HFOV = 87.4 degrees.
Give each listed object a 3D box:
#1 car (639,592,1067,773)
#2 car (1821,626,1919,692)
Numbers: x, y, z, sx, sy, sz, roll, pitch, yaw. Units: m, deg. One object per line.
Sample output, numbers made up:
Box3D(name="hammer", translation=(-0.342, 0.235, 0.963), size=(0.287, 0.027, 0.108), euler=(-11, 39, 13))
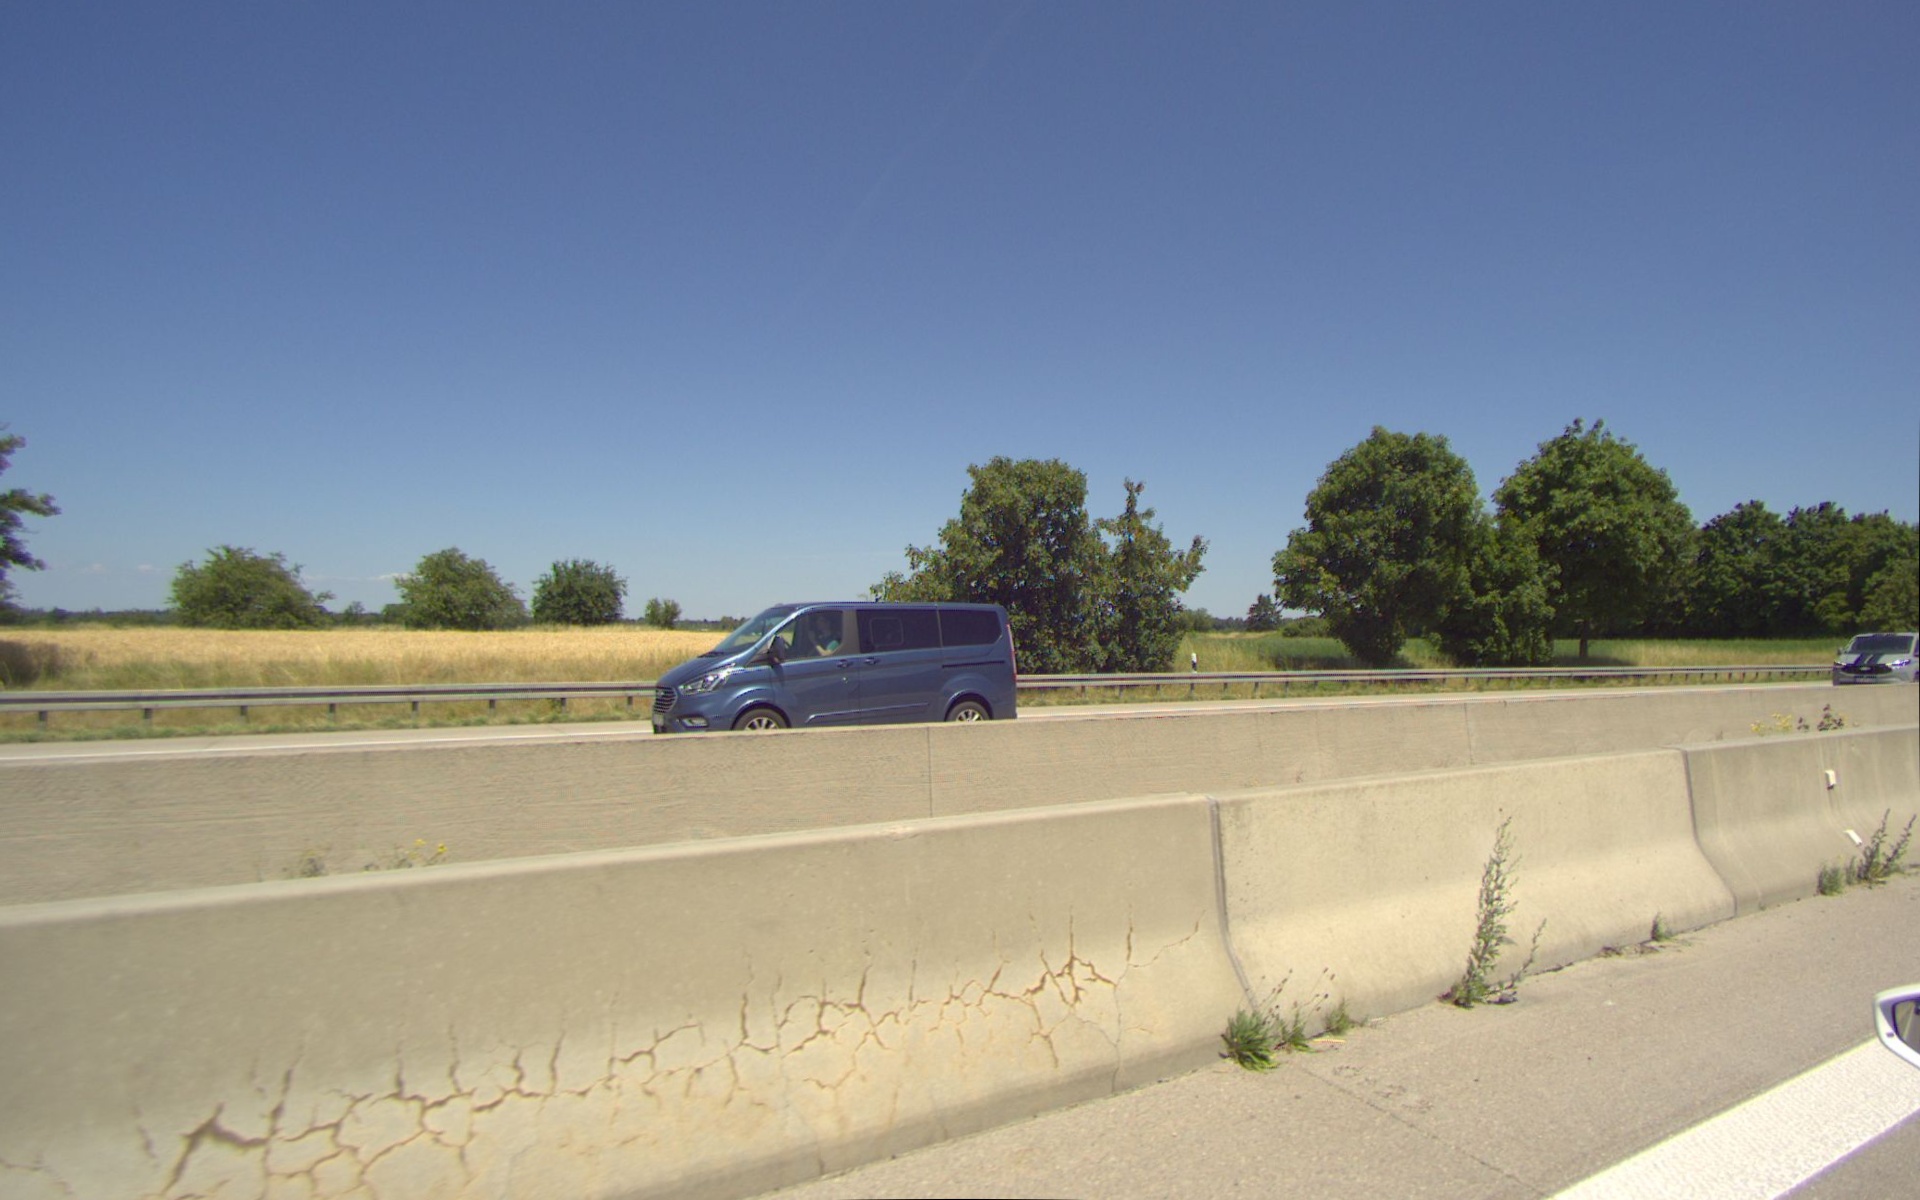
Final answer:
Box3D(name="car", translation=(-1.328, 0.959, 13.551), size=(5.453, 2.027, 1.921), euler=(1, 0, -31))
Box3D(name="car", translation=(30.315, 1.884, 32.514), size=(5.623, 1.964, 1.984), euler=(2, -3, -31))
